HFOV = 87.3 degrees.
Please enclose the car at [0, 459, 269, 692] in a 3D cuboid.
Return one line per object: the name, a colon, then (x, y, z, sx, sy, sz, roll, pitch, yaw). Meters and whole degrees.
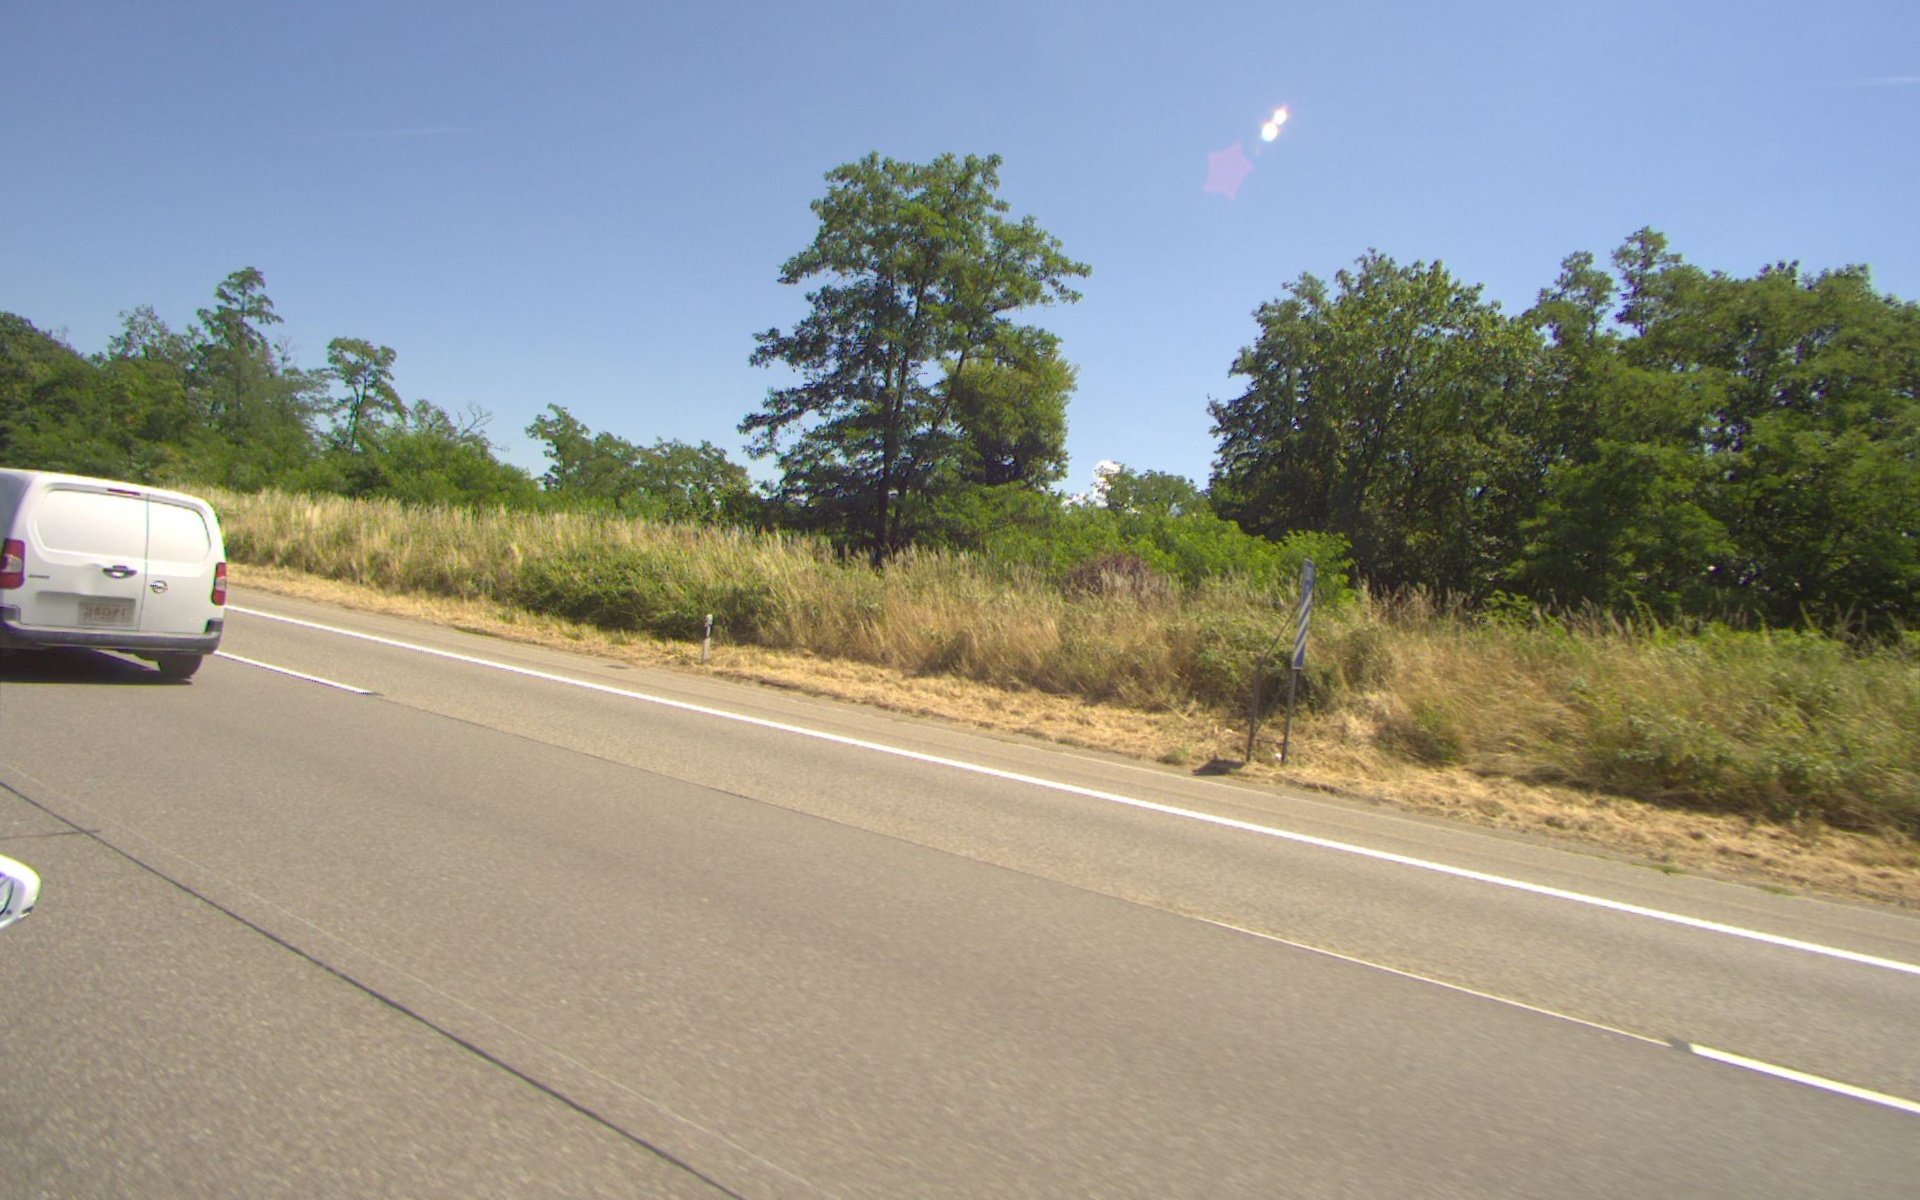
car: (-9.296, -0.345, 10.149, 4.859, 1.838, 1.869, 6, -2, 32)
